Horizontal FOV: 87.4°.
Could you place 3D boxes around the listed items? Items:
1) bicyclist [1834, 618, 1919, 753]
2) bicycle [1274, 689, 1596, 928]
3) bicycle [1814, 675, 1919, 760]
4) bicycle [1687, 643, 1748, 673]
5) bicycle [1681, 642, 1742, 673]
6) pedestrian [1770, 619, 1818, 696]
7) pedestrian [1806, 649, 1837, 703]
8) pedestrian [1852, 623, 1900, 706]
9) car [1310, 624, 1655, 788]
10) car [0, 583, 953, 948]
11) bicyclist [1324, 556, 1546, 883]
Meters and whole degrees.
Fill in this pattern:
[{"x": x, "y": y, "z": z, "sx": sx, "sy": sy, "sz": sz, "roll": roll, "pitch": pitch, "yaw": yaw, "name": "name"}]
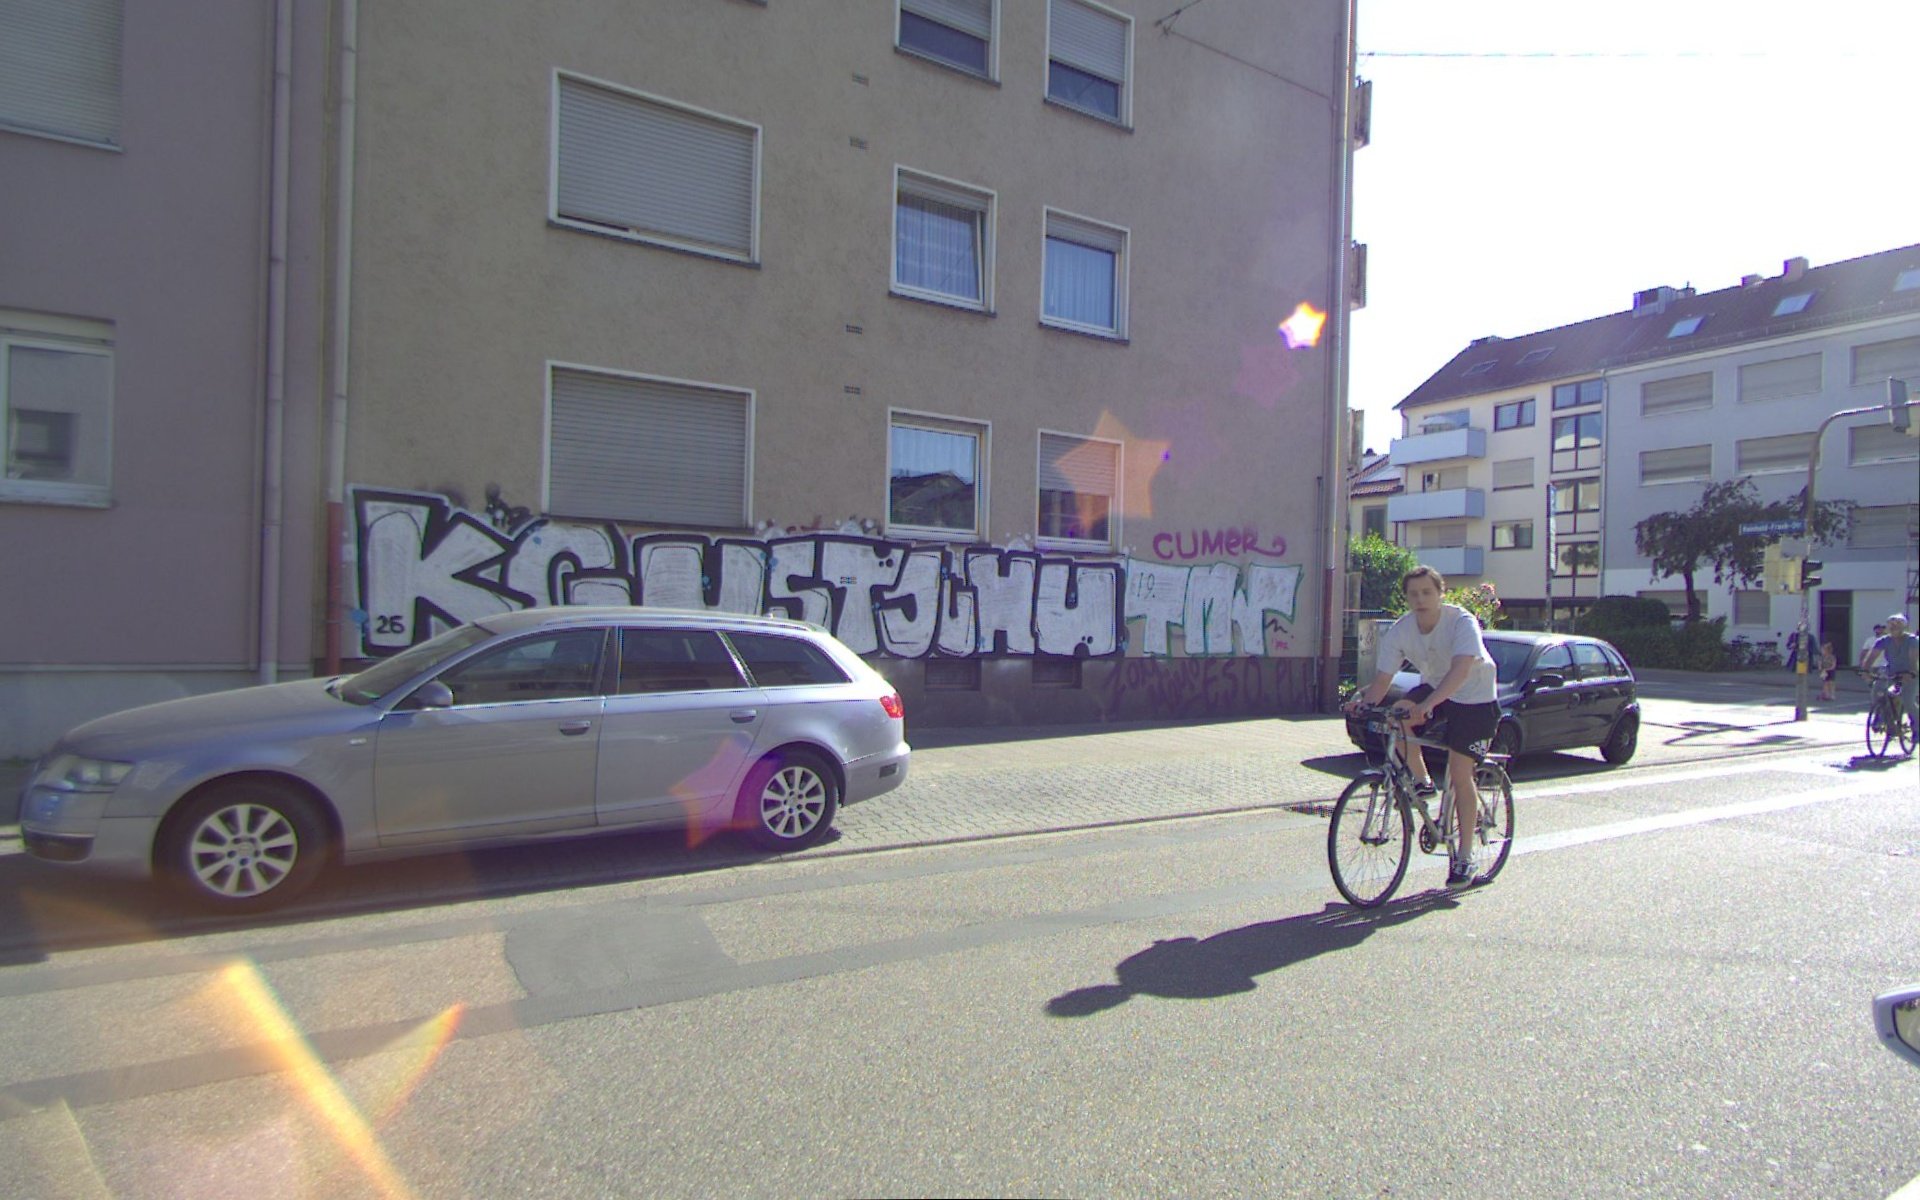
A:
[{"x": 11.783, "y": 1.072, "z": 12.825, "sx": 0.888, "sy": 1.652, "sz": 0.676, "roll": 1, "pitch": -2, "yaw": -30, "name": "bicyclist"}, {"x": 2.686, "y": 1.075, "z": 5.622, "sx": 1.850, "sy": 1.078, "sz": 0.713, "roll": 2, "pitch": -2, "yaw": -30, "name": "bicycle"}, {"x": 11.677, "y": 1.458, "z": 12.747, "sx": 1.911, "sy": 0.964, "sz": 0.676, "roll": 2, "pitch": -2, "yaw": -30, "name": "bicycle"}, {"x": 25.523, "y": 1.953, "z": 33.872, "sx": 0.506, "sy": 0.952, "sz": 1.583, "roll": 1, "pitch": -1, "yaw": -27, "name": "bicycle"}, {"x": 25.028, "y": 1.910, "z": 33.483, "sx": 0.506, "sy": 0.952, "sz": 1.583, "roll": 1, "pitch": -1, "yaw": -27, "name": "bicycle"}, {"x": 19.043, "y": 1.292, "z": 22.926, "sx": 0.958, "sy": 1.705, "sz": 0.569, "roll": 1, "pitch": -1, "yaw": -33, "name": "pedestrian"}, {"x": 19.043, "y": 1.667, "z": 22.204, "sx": 0.526, "sy": 1.161, "sz": 0.383, "roll": 1, "pitch": -1, "yaw": -35, "name": "pedestrian"}, {"x": 19.326, "y": 1.355, "z": 21.189, "sx": 0.661, "sy": 1.711, "sz": 0.570, "roll": 1, "pitch": 0, "yaw": -30, "name": "pedestrian"}, {"x": 5.911, "y": 1.073, "z": 11.271, "sx": 3.813, "sy": 1.467, "sz": 1.682, "roll": 2, "pitch": 1, "yaw": -32, "name": "car"}, {"x": -2.554, "y": 0.754, "z": 6.314, "sx": 4.748, "sy": 1.523, "sz": 1.813, "roll": 2, "pitch": 1, "yaw": -32, "name": "car"}, {"x": 2.644, "y": 0.619, "z": 5.606, "sx": 0.935, "sy": 1.641, "sz": 0.713, "roll": 2, "pitch": -1, "yaw": -30, "name": "bicyclist"}]
